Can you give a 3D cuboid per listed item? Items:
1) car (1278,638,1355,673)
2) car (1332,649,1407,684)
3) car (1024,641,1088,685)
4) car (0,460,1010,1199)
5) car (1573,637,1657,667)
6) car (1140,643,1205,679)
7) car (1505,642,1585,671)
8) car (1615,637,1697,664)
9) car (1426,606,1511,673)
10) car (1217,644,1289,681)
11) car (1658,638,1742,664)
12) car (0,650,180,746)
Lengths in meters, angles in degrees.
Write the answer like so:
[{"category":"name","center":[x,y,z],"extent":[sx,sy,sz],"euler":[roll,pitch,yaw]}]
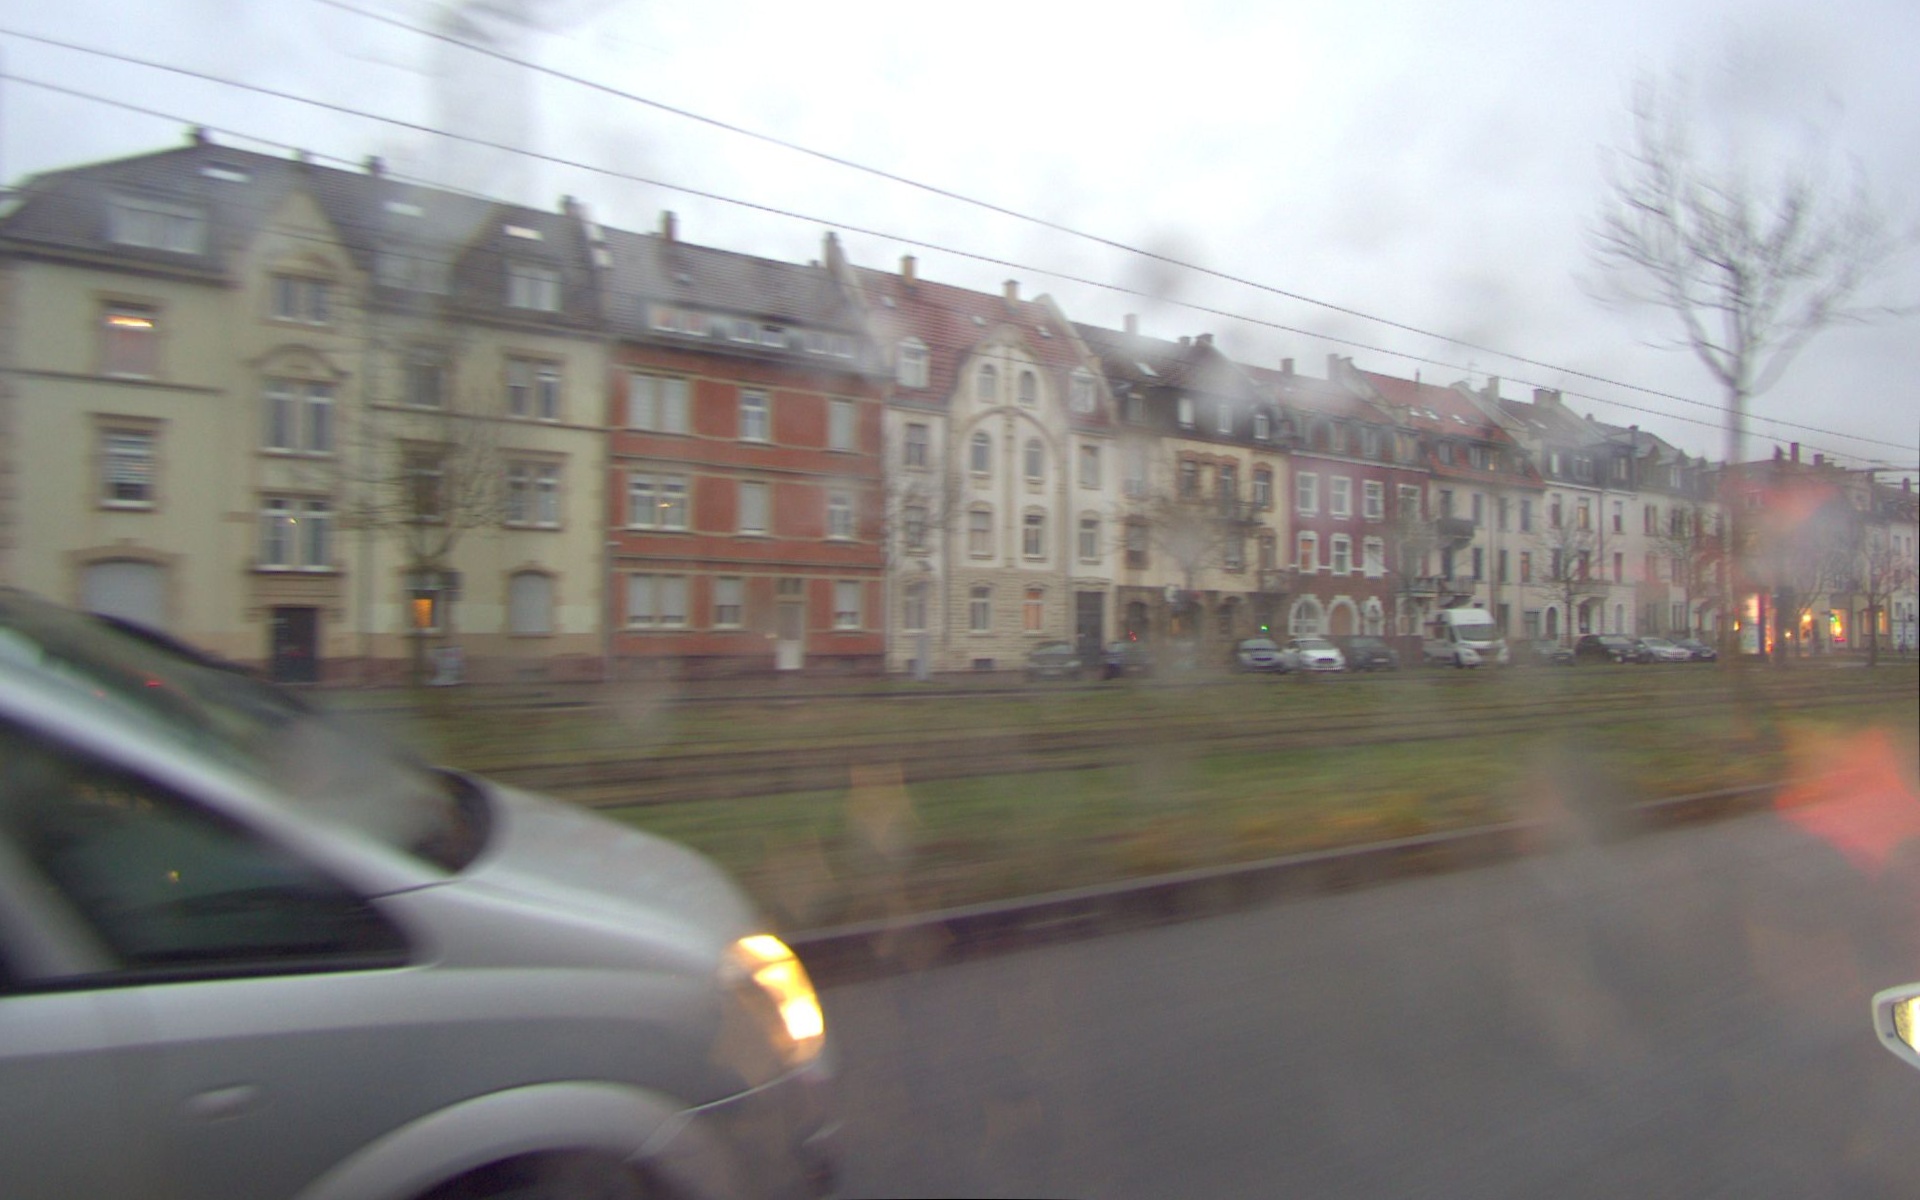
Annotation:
[{"category":"car","center":[14.274,2.202,40.404],"extent":[1.960,1.349,4.003],"euler":[0,-2,5]},{"category":"car","center":[17.016,2.749,41.957],"extent":[1.959,1.349,4.003],"euler":[0,-2,8]},{"category":"car","center":[3.178,2.025,33.062],"extent":[1.959,1.349,4.003],"euler":[0,-2,6]},{"category":"car","center":[-2.069,0.638,1.677],"extent":[4.009,1.621,1.799],"euler":[1,-1,-32]},{"category":"car","center":[33.897,2.673,52.143],"extent":[1.960,1.505,4.003],"euler":[0,-2,5]},{"category":"car","center":[7.346,2.095,35.097],"extent":[1.959,1.184,4.003],"euler":[0,-2,8]},{"category":"car","center":[28.355,2.698,48.823],"extent":[1.959,1.349,4.003],"euler":[0,-2,8]},{"category":"car","center":[36.800,2.654,53.219],"extent":[1.959,1.349,4.003],"euler":[0,-2,8]},{"category":"car","center":[23.012,1.815,45.742],"extent":[1.959,2.834,5.872],"euler":[0,-2,12]},{"category":"car","center":[11.276,2.376,38.923],"extent":[1.959,1.349,4.003],"euler":[0,-2,6]},{"category":"car","center":[40.071,2.748,54.502],"extent":[1.959,1.349,4.003],"euler":[0,-2,8]},{"category":"car","center":[-15.609,1.545,16.092],"extent":[4.644,1.472,1.856],"euler":[1,-3,-30]}]
